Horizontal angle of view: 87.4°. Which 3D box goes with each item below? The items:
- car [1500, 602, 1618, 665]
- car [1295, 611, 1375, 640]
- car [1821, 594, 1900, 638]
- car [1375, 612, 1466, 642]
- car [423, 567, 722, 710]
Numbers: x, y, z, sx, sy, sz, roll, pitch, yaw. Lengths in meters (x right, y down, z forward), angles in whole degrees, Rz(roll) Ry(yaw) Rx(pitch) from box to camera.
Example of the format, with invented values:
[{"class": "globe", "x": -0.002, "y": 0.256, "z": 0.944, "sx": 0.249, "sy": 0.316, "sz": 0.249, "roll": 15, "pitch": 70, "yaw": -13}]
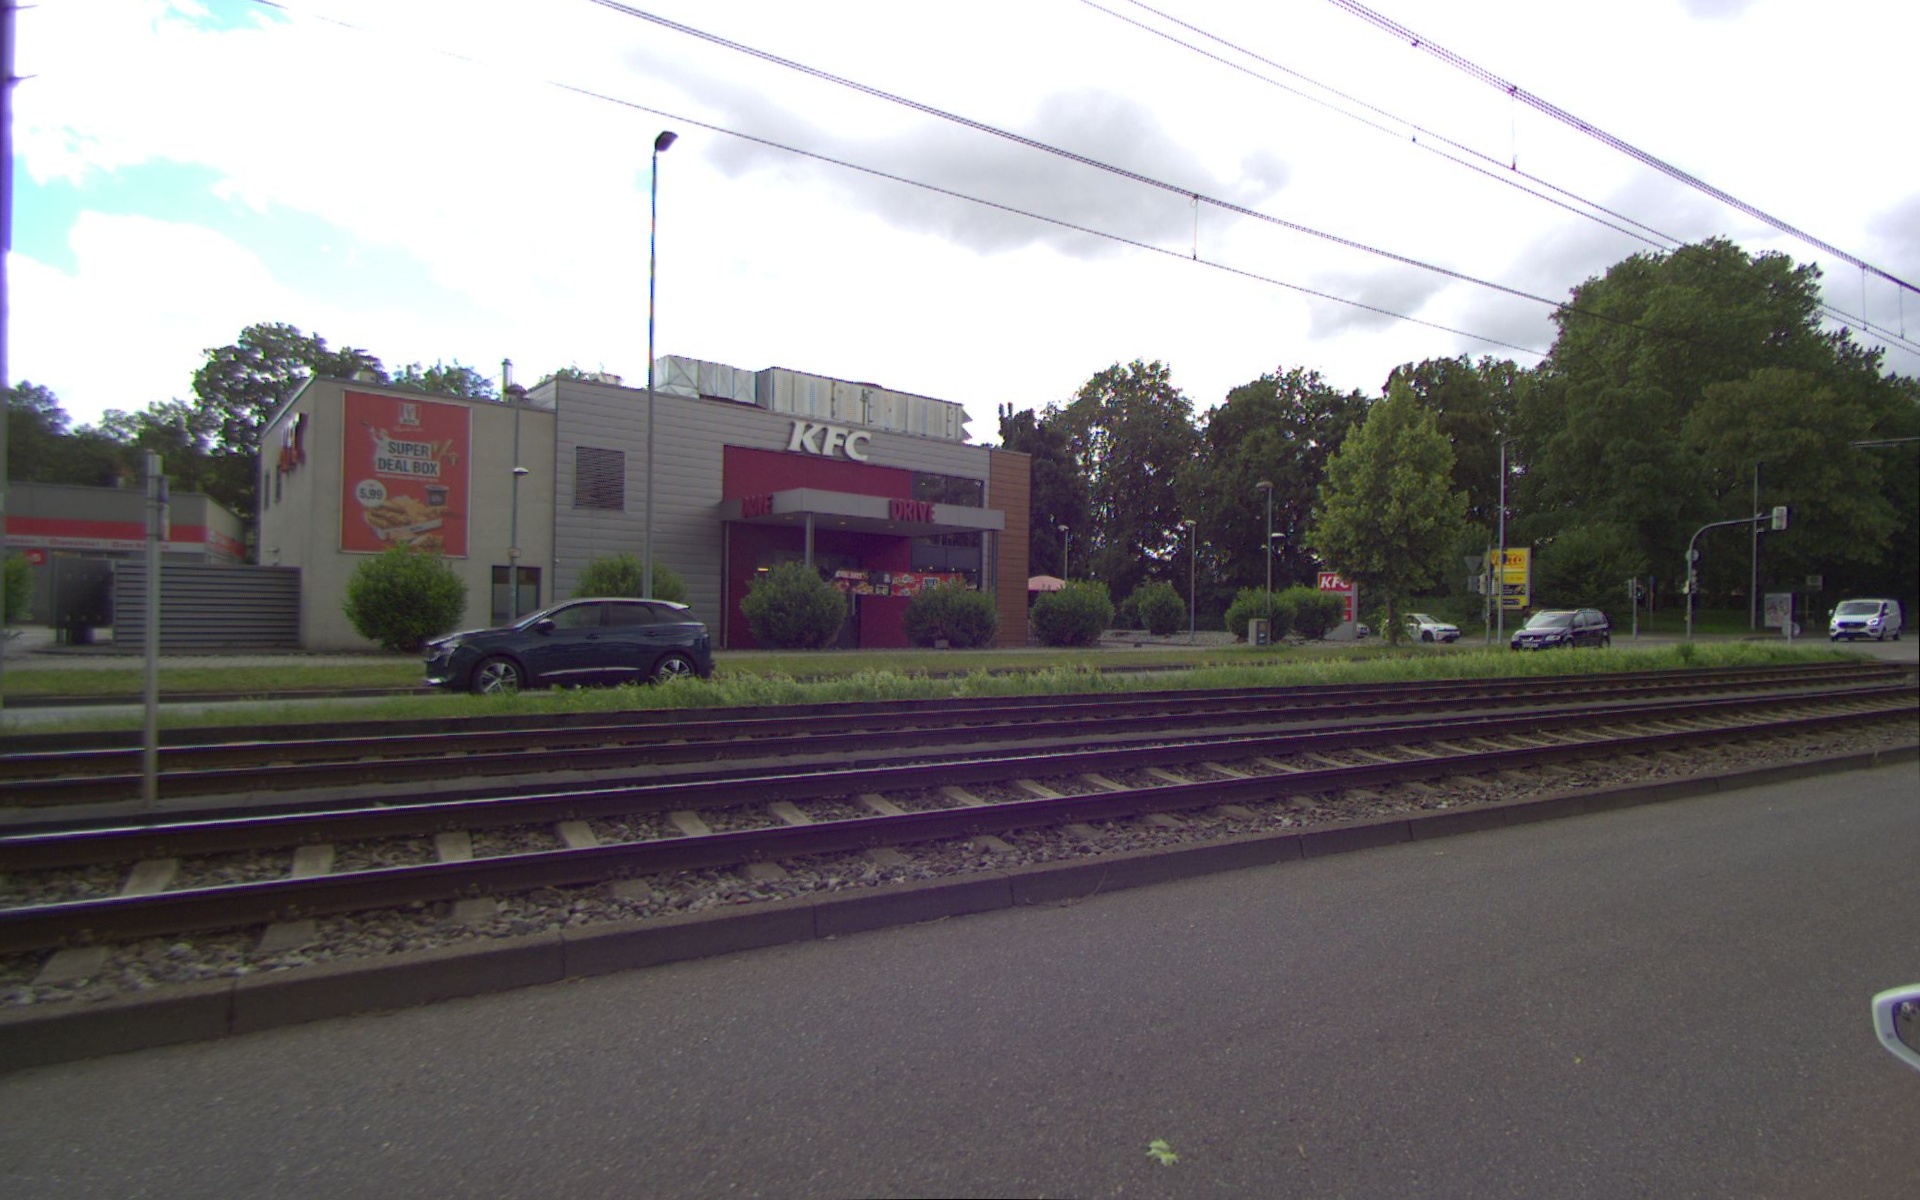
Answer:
[{"class": "car", "x": 20.558, "y": 1.131, "z": 34.452, "sx": 4.065, "sy": 2.040, "sz": 1.981, "roll": 1, "pitch": -1, "yaw": -35}, {"class": "car", "x": 20.968, "y": 1.387, "z": 56.306, "sx": 1.827, "sy": 1.572, "sz": 3.965, "roll": 1, "pitch": -1, "yaw": -32}, {"class": "car", "x": 44.234, "y": 0.801, "z": 49.314, "sx": 4.839, "sy": 2.040, "sz": 1.980, "roll": 1, "pitch": -1, "yaw": -37}, {"class": "car", "x": 23.349, "y": 1.358, "z": 51.016, "sx": 1.827, "sy": 1.426, "sz": 3.858, "roll": 1, "pitch": -1, "yaw": -32}, {"class": "car", "x": -6.258, "y": 0.586, "z": 16.360, "sx": 4.204, "sy": 2.040, "sz": 1.981, "roll": 1, "pitch": -1, "yaw": -35}]
